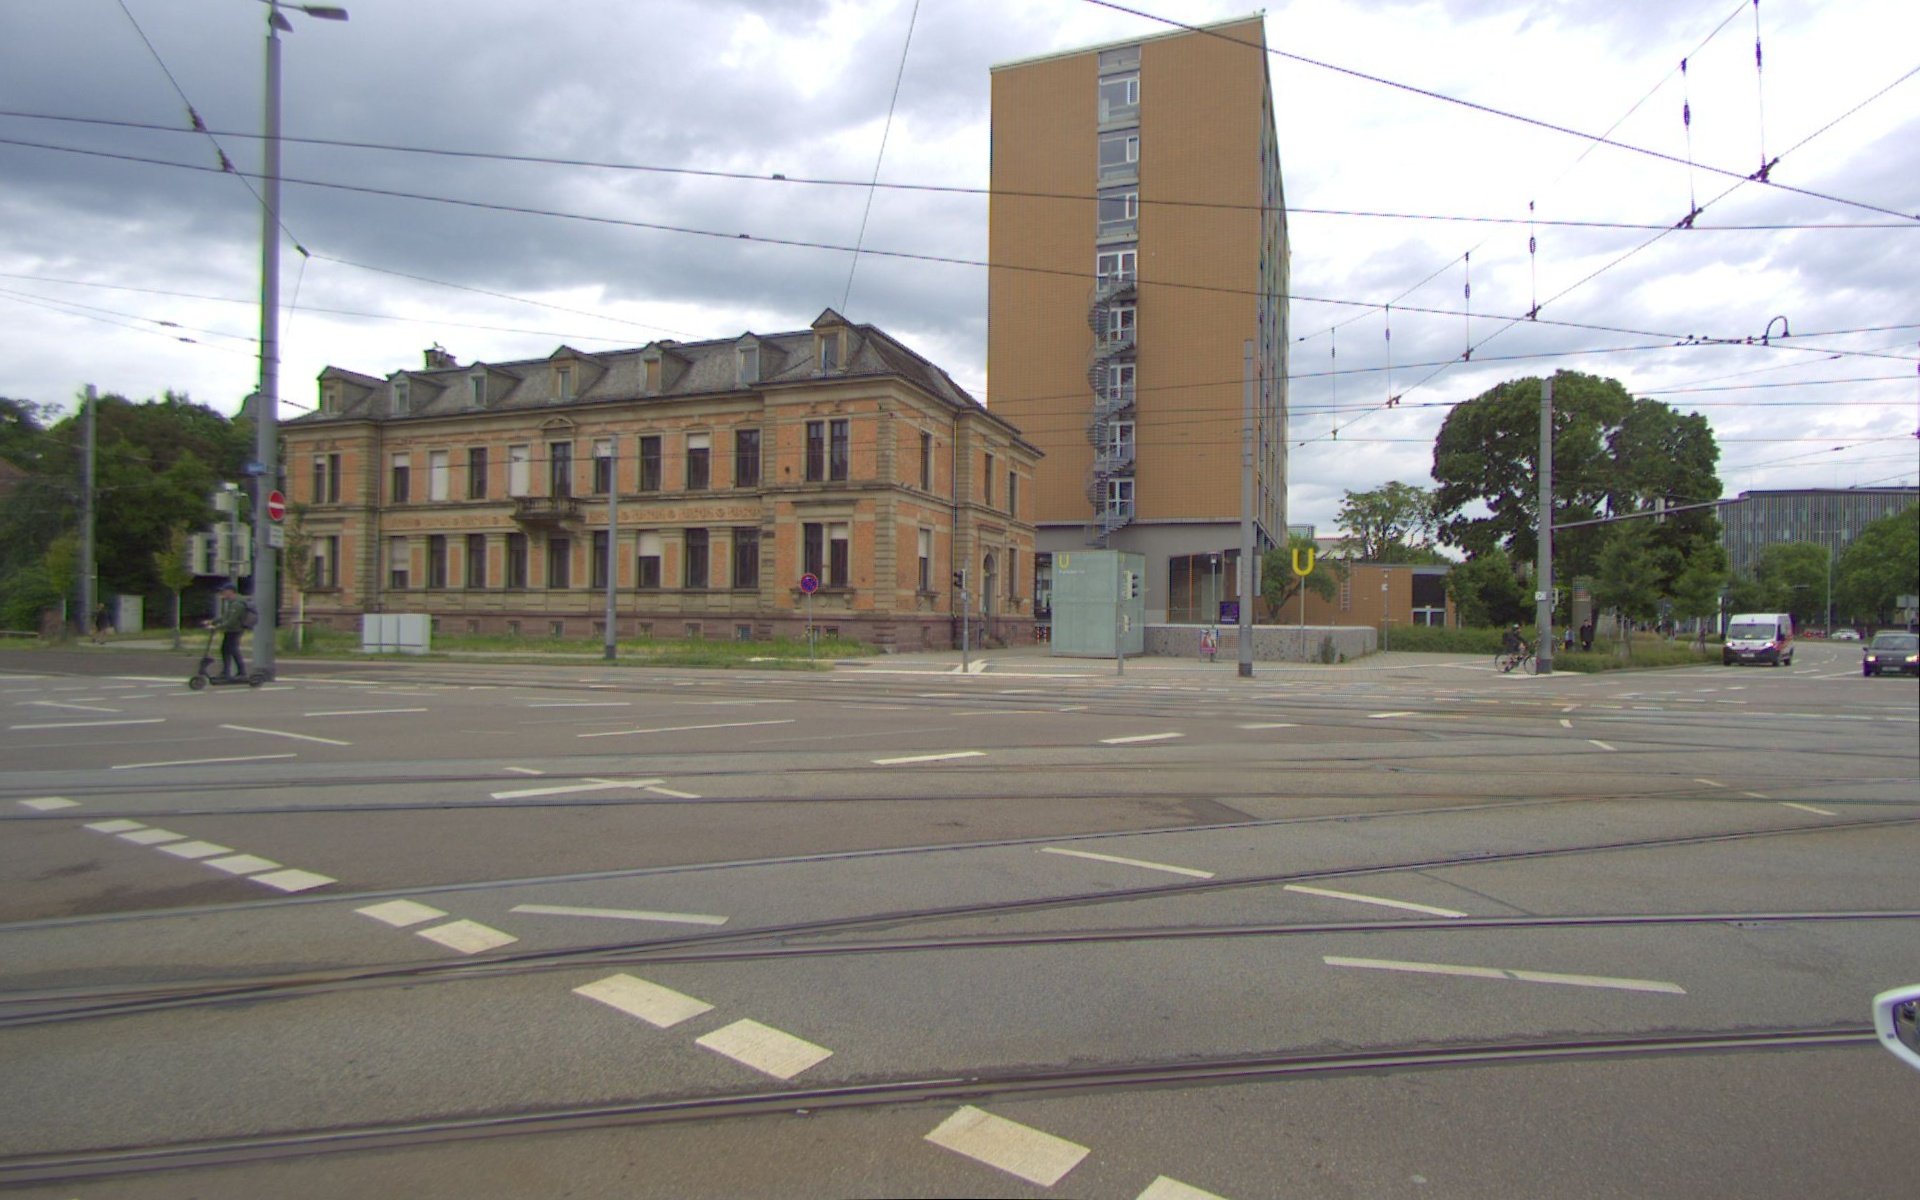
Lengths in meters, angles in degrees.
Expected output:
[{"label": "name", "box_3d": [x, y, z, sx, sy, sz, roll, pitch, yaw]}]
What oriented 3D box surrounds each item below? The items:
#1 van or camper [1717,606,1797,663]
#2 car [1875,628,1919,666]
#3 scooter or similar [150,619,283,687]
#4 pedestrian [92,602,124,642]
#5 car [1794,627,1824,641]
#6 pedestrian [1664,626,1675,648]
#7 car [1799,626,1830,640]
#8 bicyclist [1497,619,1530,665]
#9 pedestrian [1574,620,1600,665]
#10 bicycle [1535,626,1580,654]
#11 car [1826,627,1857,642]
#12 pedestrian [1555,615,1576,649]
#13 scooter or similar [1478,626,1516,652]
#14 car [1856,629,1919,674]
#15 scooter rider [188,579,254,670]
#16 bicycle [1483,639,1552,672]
[{"label": "van or camper", "box_3d": [38.425, 1.641, 48.360, 5.535, 2.561, 2.257, 1, -2, -44]}, {"label": "car", "box_3d": [39.325, 1.917, 41.489, 4.446, 1.527, 1.854, 1, -4, -43]}, {"label": "scooter or similar", "box_3d": [-13.712, 0.954, 18.577, 0.564, 1.180, 1.903, 0, -1, 30]}, {"label": "pedestrian", "box_3d": [-40.103, 1.016, 47.277, 0.833, 1.857, 0.810, 0, -1, 23]}, {"label": "car", "box_3d": [107.750, 4.255, 127.511, 1.963, 1.704, 4.007, 0, -1, 25]}, {"label": "pedestrian", "box_3d": [50.958, 2.623, 72.131, 0.555, 1.562, 0.751, 0, -1, 43]}, {"label": "car", "box_3d": [113.374, 4.396, 133.315, 1.961, 1.773, 3.999, 0, -1, 22]}, {"label": "bicyclist", "box_3d": [20.698, 1.561, 37.581, 0.785, 1.679, 0.807, -1, 2, -34]}, {"label": "pedestrian", "box_3d": [27.896, 1.873, 44.690, 0.652, 2.007, 0.813, 1, -1, -38]}, {"label": "bicycle", "box_3d": [31.868, 2.119, 53.578, 2.219, 1.468, 0.846, 1, -1, -19]}, {"label": "car", "box_3d": [102.612, 3.972, 116.959, 1.964, 1.661, 3.994, 0, -1, 29]}, {"label": "pedestrian", "box_3d": [31.579, 1.654, 52.423, 0.680, 1.757, 0.741, 1, -1, -38]}, {"label": "scooter or similar", "box_3d": [28.801, 2.078, 53.902, 1.747, 1.319, 0.628, 0, -1, 36]}, {"label": "car", "box_3d": [33.827, 1.820, 36.461, 3.638, 1.535, 1.603, 1, -2, -43]}, {"label": "scooter rider", "box_3d": [-13.687, 0.446, 18.615, 0.559, 1.649, 0.820, 0, -1, 30]}, {"label": "bicycle", "box_3d": [20.804, 2.064, 37.543, 0.787, 1.042, 2.100, 4, -1, -33]}]
